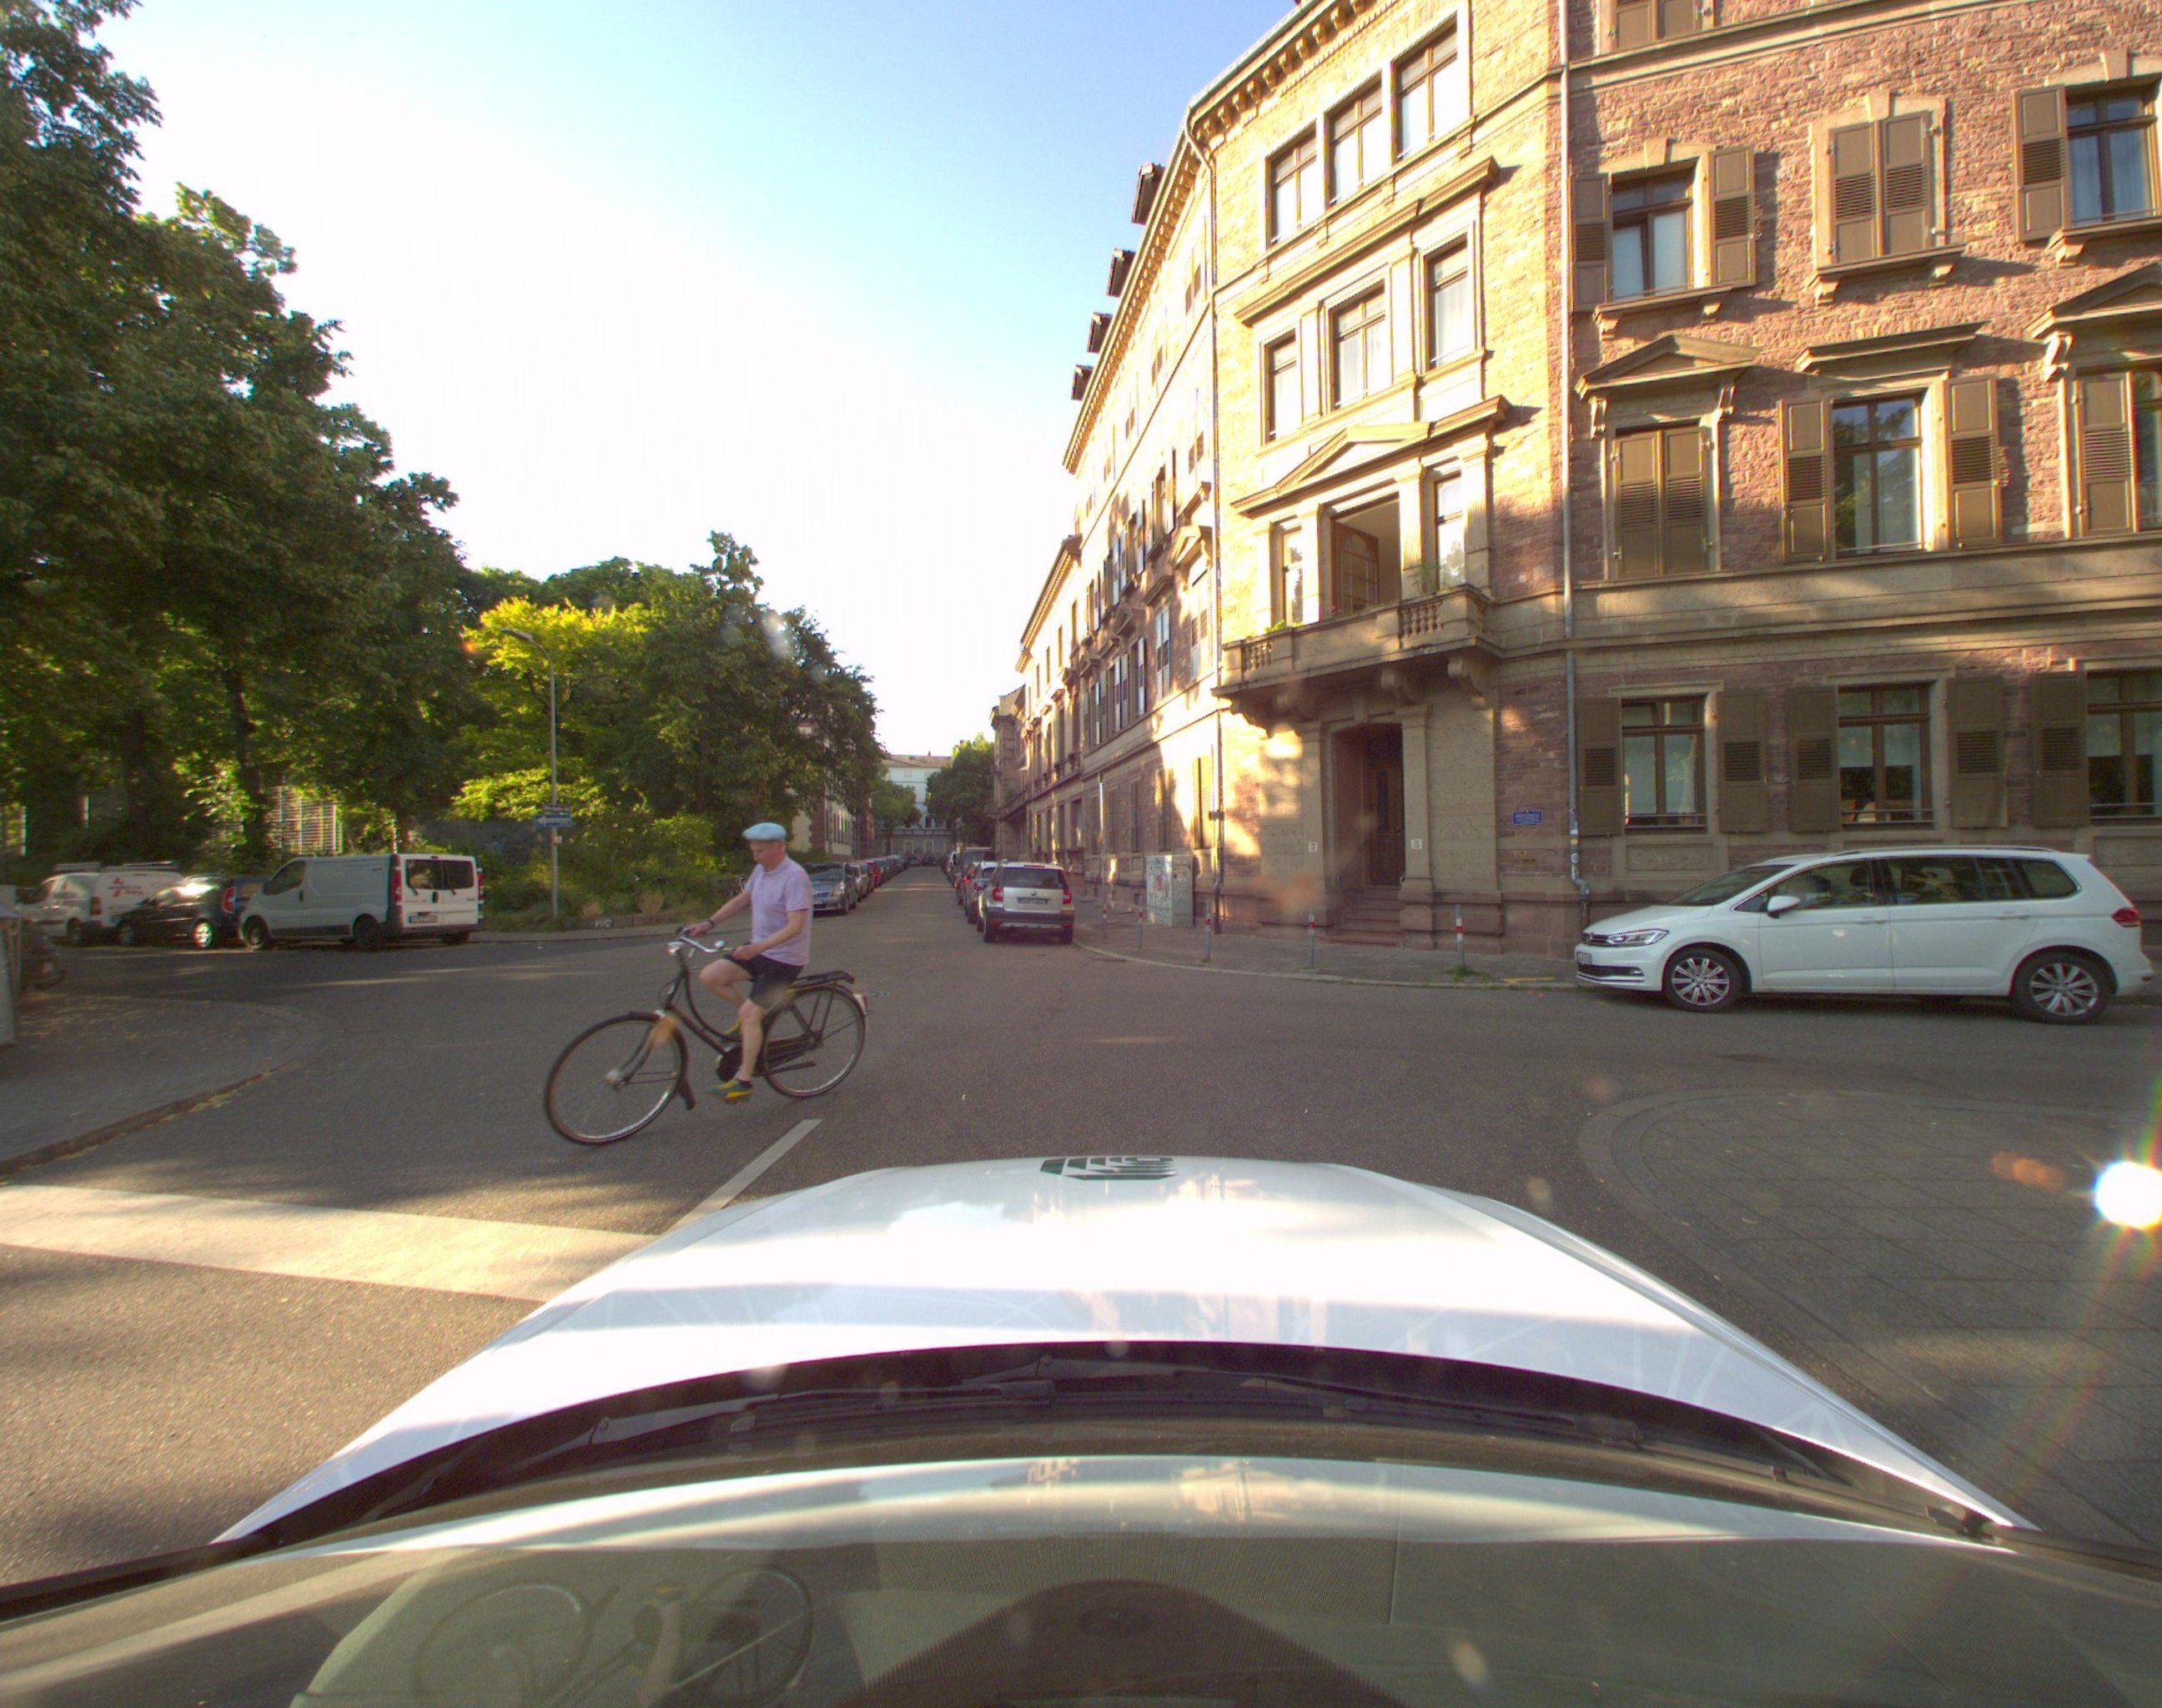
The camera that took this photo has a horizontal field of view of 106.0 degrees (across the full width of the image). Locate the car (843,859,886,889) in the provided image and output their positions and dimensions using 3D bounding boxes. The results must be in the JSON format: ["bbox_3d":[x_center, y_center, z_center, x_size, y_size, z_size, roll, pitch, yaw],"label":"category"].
[{"bbox_3d":[-11.793,1.038,44.534,1.826,1.500,3.918,2,-1,-10],"label":"car"}]

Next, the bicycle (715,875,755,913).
[{"bbox_3d":[-11.205,1.261,26.427,0.597,1.101,2.618,-1,0,-10],"label":"bicycle"}]

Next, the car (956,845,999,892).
[{"bbox_3d":[-4.976,0.669,38.771,1.798,2.072,3.941,2,-1,-10],"label":"car"}]

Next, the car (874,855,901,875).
[{"bbox_3d":[-15.725,0.914,66.294,1.826,1.500,3.918,2,-1,-10],"label":"car"}]

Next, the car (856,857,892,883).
[{"bbox_3d":[-12.905,0.976,50.920,1.826,1.500,3.918,2,-1,-10],"label":"car"}]

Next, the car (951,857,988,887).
[{"bbox_3d":[-6.099,0.948,44.142,1.798,1.524,3.941,2,-1,-10],"label":"car"}]

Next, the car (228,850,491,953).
[{"bbox_3d":[-15.358,0.958,17.400,4.610,2.003,1.958,-1,0,15],"label":"car"}]

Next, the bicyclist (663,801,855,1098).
[{"bbox_3d":[-1.938,0.512,4.912,0.879,1.588,0.692,0,-1,-43],"label":"bicyclist"}]

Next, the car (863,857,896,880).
[{"bbox_3d":[-13.864,0.966,56.126,1.826,1.500,3.918,2,-1,-10],"label":"car"}]

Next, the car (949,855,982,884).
[{"bbox_3d":[-7.080,0.926,49.666,1.798,1.623,3.941,2,-1,-10],"label":"car"}]

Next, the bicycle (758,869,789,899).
[{"bbox_3d":[-12.361,1.194,32.819,0.596,1.101,2.619,-1,0,-9],"label":"bicycle"}]

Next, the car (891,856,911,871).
[{"bbox_3d":[-19.091,1.033,86.514,1.826,1.500,3.918,2,-1,-10],"label":"car"}]

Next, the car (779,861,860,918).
[{"bbox_3d":[-8.344,1.077,26.344,1.826,1.615,4.277,2,-1,-10],"label":"car"}]

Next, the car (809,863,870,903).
[{"bbox_3d":[-9.640,1.134,32.821,1.826,1.447,3.918,2,-1,-10],"label":"car"}]

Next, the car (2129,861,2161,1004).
[{"bbox_3d":[12.925,0.768,7.504,3.686,1.490,1.748,-1,-3,14],"label":"car"}]

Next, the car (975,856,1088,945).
[{"bbox_3d":[-1.203,0.930,17.783,1.916,1.657,4.171,2,-1,-11],"label":"car"}]

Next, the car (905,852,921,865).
[{"bbox_3d":[-23.614,0.658,114.254,1.997,1.684,3.978,1,-2,-16],"label":"car"}]

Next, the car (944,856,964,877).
[{"bbox_3d":[-12.663,1.196,80.959,1.798,2.017,3.941,2,-1,-10],"label":"car"}]

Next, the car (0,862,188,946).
[{"bbox_3d":[-24.222,1.198,20.005,3.858,1.903,1.583,-1,0,18],"label":"car"}]

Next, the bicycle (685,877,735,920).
[{"bbox_3d":[-10.784,1.261,23.750,0.596,1.101,2.620,-1,0,-8],"label":"bicycle"}]

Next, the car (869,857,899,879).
[{"bbox_3d":[-14.616,1.022,60.481,1.826,1.500,3.918,2,-1,-10],"label":"car"}]

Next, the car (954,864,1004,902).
[{"bbox_3d":[-4.177,1.138,32.931,1.798,1.345,3.941,2,-1,-10],"label":"car"}]

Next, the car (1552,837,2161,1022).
[{"bbox_3d":[7.835,0.746,8.742,4.449,1.650,1.882,-1,-3,15],"label":"car"}]

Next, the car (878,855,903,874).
[{"bbox_3d":[-16.432,0.877,70.501,1.826,1.500,3.918,2,-1,-10],"label":"car"}]

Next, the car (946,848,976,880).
[{"bbox_3d":[-8.172,0.673,55.308,1.798,2.072,3.941,2,-1,-10],"label":"car"}]

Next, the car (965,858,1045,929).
[{"bbox_3d":[-2.231,1.004,22.706,1.826,1.724,4.528,2,-1,-10],"label":"car"}]

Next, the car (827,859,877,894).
[{"bbox_3d":[-10.692,1.029,38.272,1.826,1.478,3.918,2,-1,-10],"label":"car"}]

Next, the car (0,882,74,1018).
[{"bbox_3d":[-13.908,1.049,8.672,3.756,1.521,1.588,3,-3,-43],"label":"car"}]

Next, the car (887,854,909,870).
[{"bbox_3d":[-18.276,0.810,81.497,1.826,1.500,3.918,2,-1,-10],"label":"car"}]

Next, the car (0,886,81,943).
[{"bbox_3d":[-28.788,1.584,21.698,3.559,1.386,1.584,-1,0,19],"label":"car"}]

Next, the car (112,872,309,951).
[{"bbox_3d":[-19.893,1.280,18.642,3.671,1.637,1.583,-1,0,16],"label":"car"}]

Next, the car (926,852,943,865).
[{"bbox_3d":[-20.830,0.699,115.484,1.997,1.684,3.978,1,-2,-16],"label":"car"}]

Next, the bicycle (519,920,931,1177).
[{"bbox_3d":[-2.000,1.000,4.845,2.135,1.054,0.692,0,-1,-43],"label":"bicycle"}]

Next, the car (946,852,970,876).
[{"bbox_3d":[-10.079,0.831,66.433,1.798,1.839,3.941,2,-1,-10],"label":"car"}]

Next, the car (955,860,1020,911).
[{"bbox_3d":[-3.322,1.036,28.219,1.799,1.614,3.938,2,-1,-12],"label":"car"}]
